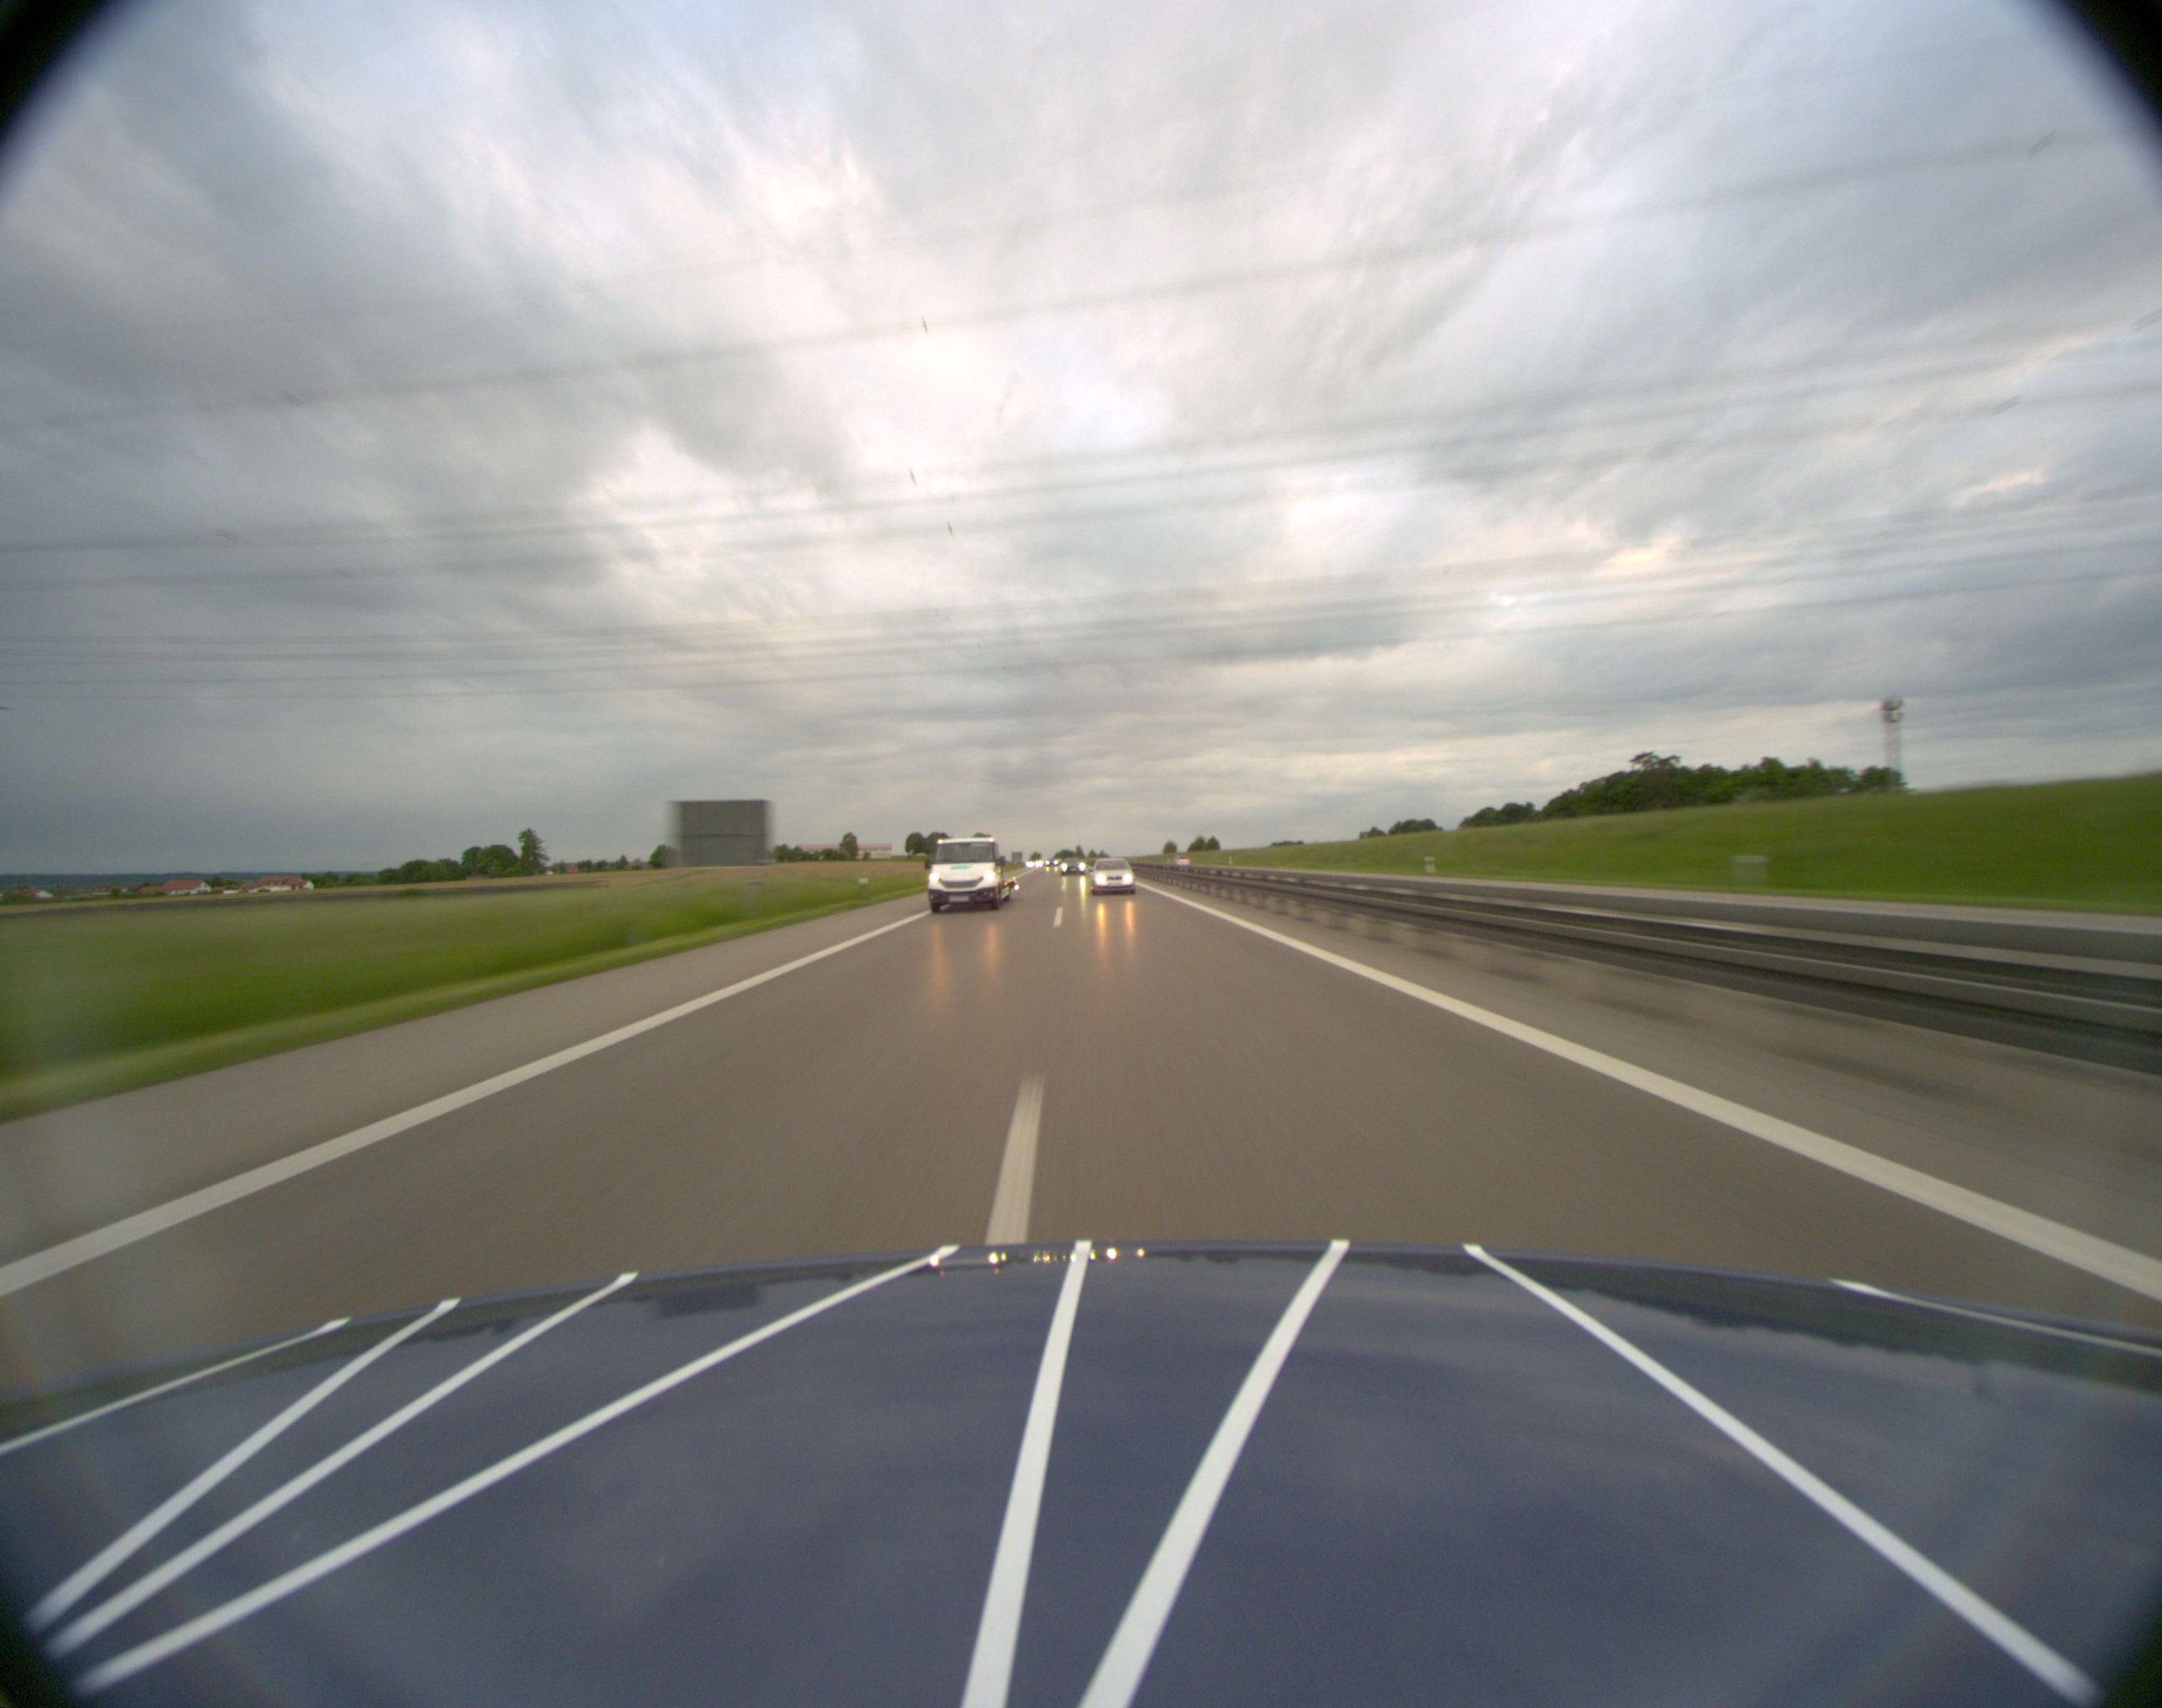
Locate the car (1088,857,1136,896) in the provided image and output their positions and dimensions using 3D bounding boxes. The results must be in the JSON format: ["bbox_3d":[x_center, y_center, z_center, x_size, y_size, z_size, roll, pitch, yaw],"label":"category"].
[{"bbox_3d":[1.170,0.841,30.469,1.592,1.381,4.600,0,1,-1],"label":"car"}]

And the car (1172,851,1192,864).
[{"bbox_3d":[12.807,0.406,96.701,1.769,1.473,5.333,-3,0,0],"label":"car"}]

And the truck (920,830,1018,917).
[{"bbox_3d":[-3.476,0.546,25.198,2.177,2.346,7.695,-3,0,-1],"label":"truck"}]

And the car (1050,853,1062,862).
[{"bbox_3d":[-4.630,0.586,138.931,1.808,1.619,3.901,-1,0,-7],"label":"car"}]

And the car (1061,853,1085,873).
[{"bbox_3d":[-0.628,0.735,64.948,1.951,1.620,4.535,-1,0,0],"label":"car"}]
